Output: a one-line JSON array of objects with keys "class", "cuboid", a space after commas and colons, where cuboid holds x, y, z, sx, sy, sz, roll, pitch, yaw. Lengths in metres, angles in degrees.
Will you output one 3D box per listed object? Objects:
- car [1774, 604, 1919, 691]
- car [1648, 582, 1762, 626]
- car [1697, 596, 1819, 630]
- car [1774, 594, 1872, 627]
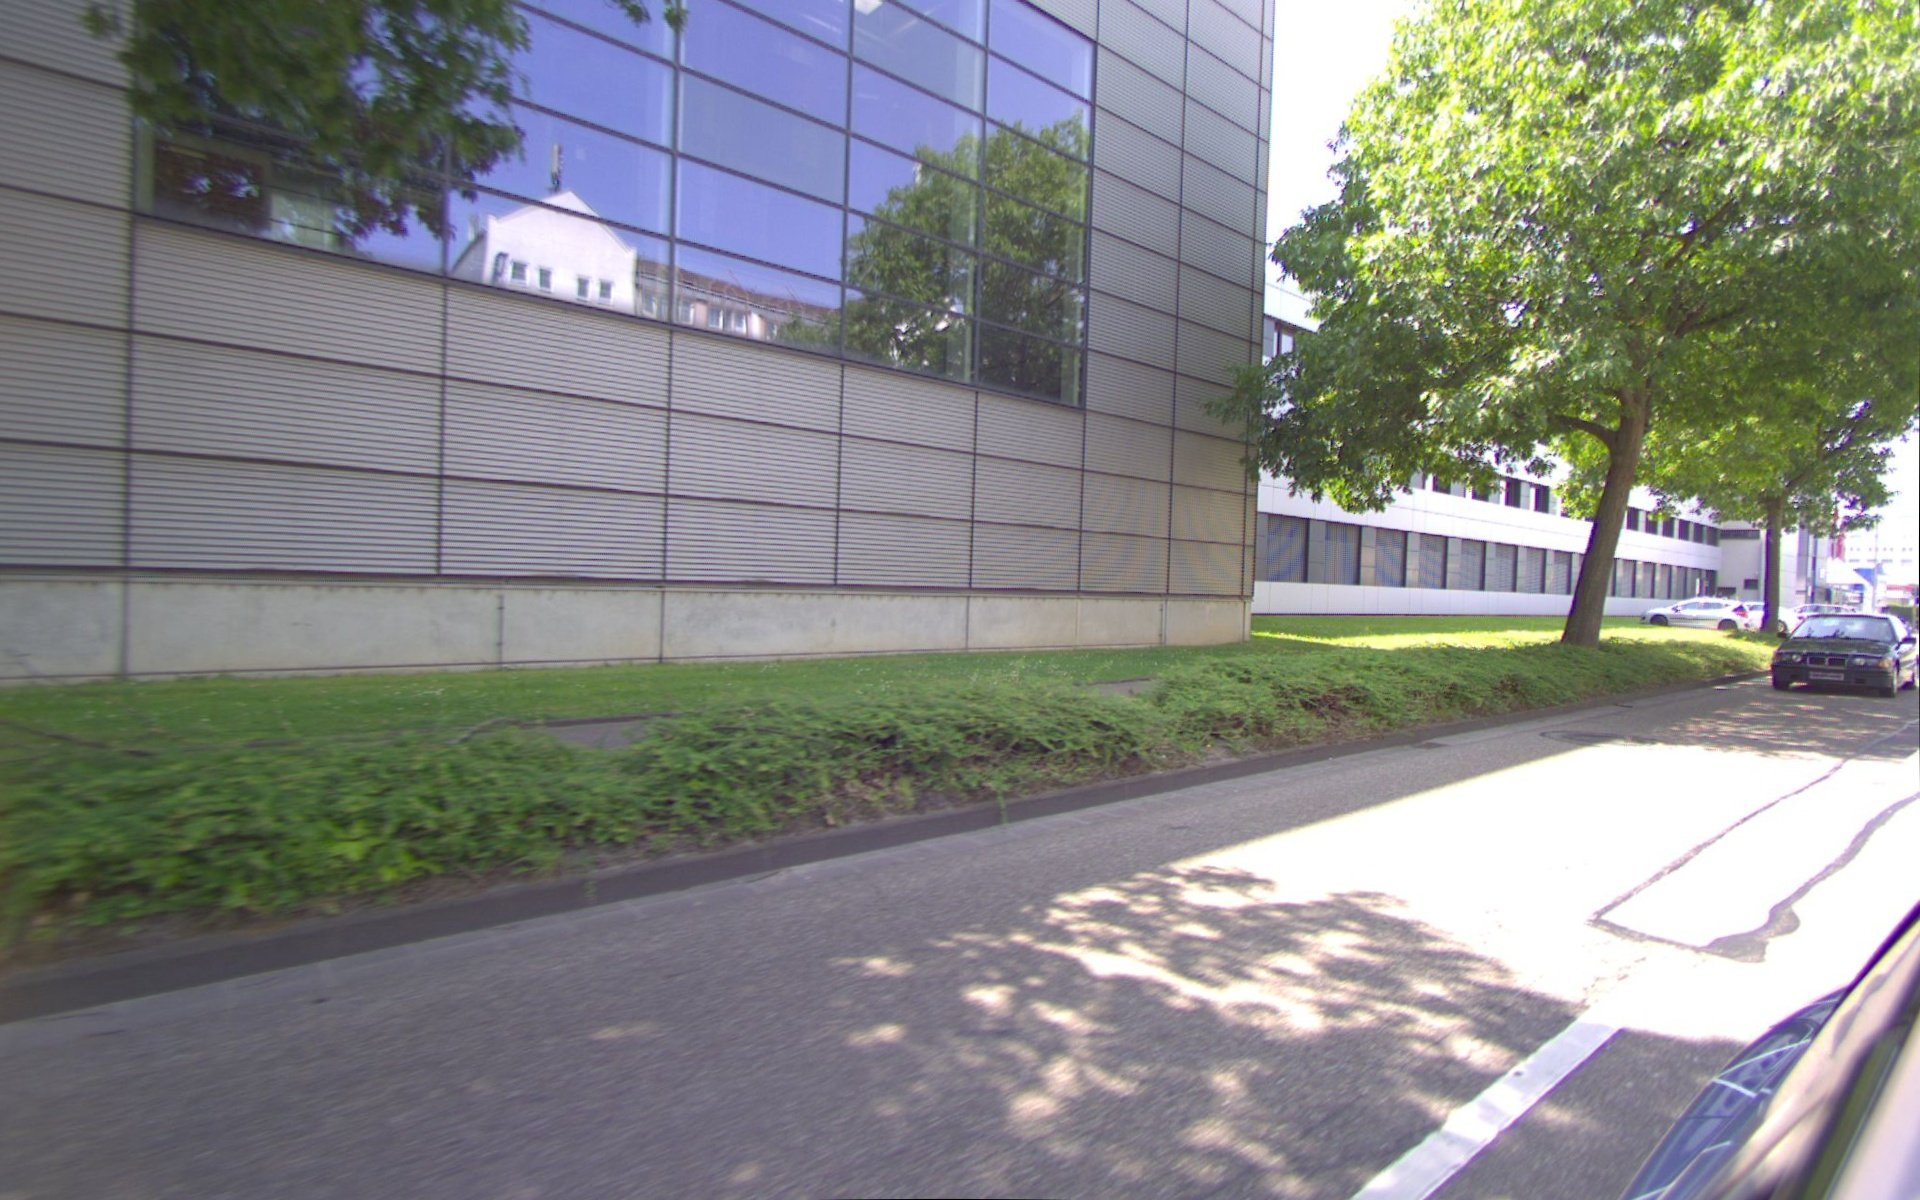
[{"class": "car", "cuboid": [16.004, 0.800, 17.915, 3.686, 1.356, 1.632, 1, 0, -37]}, {"class": "car", "cuboid": [33.391, 0.135, 45.419, 1.704, 1.611, 3.817, 1, 4, -44]}, {"class": "car", "cuboid": [40.108, 0.603, 50.942, 4.616, 1.407, 1.968, 4, 3, 45]}, {"class": "car", "cuboid": [52.033, 0.622, 61.067, 1.967, 1.710, 4.263, 0, 3, -44]}]
